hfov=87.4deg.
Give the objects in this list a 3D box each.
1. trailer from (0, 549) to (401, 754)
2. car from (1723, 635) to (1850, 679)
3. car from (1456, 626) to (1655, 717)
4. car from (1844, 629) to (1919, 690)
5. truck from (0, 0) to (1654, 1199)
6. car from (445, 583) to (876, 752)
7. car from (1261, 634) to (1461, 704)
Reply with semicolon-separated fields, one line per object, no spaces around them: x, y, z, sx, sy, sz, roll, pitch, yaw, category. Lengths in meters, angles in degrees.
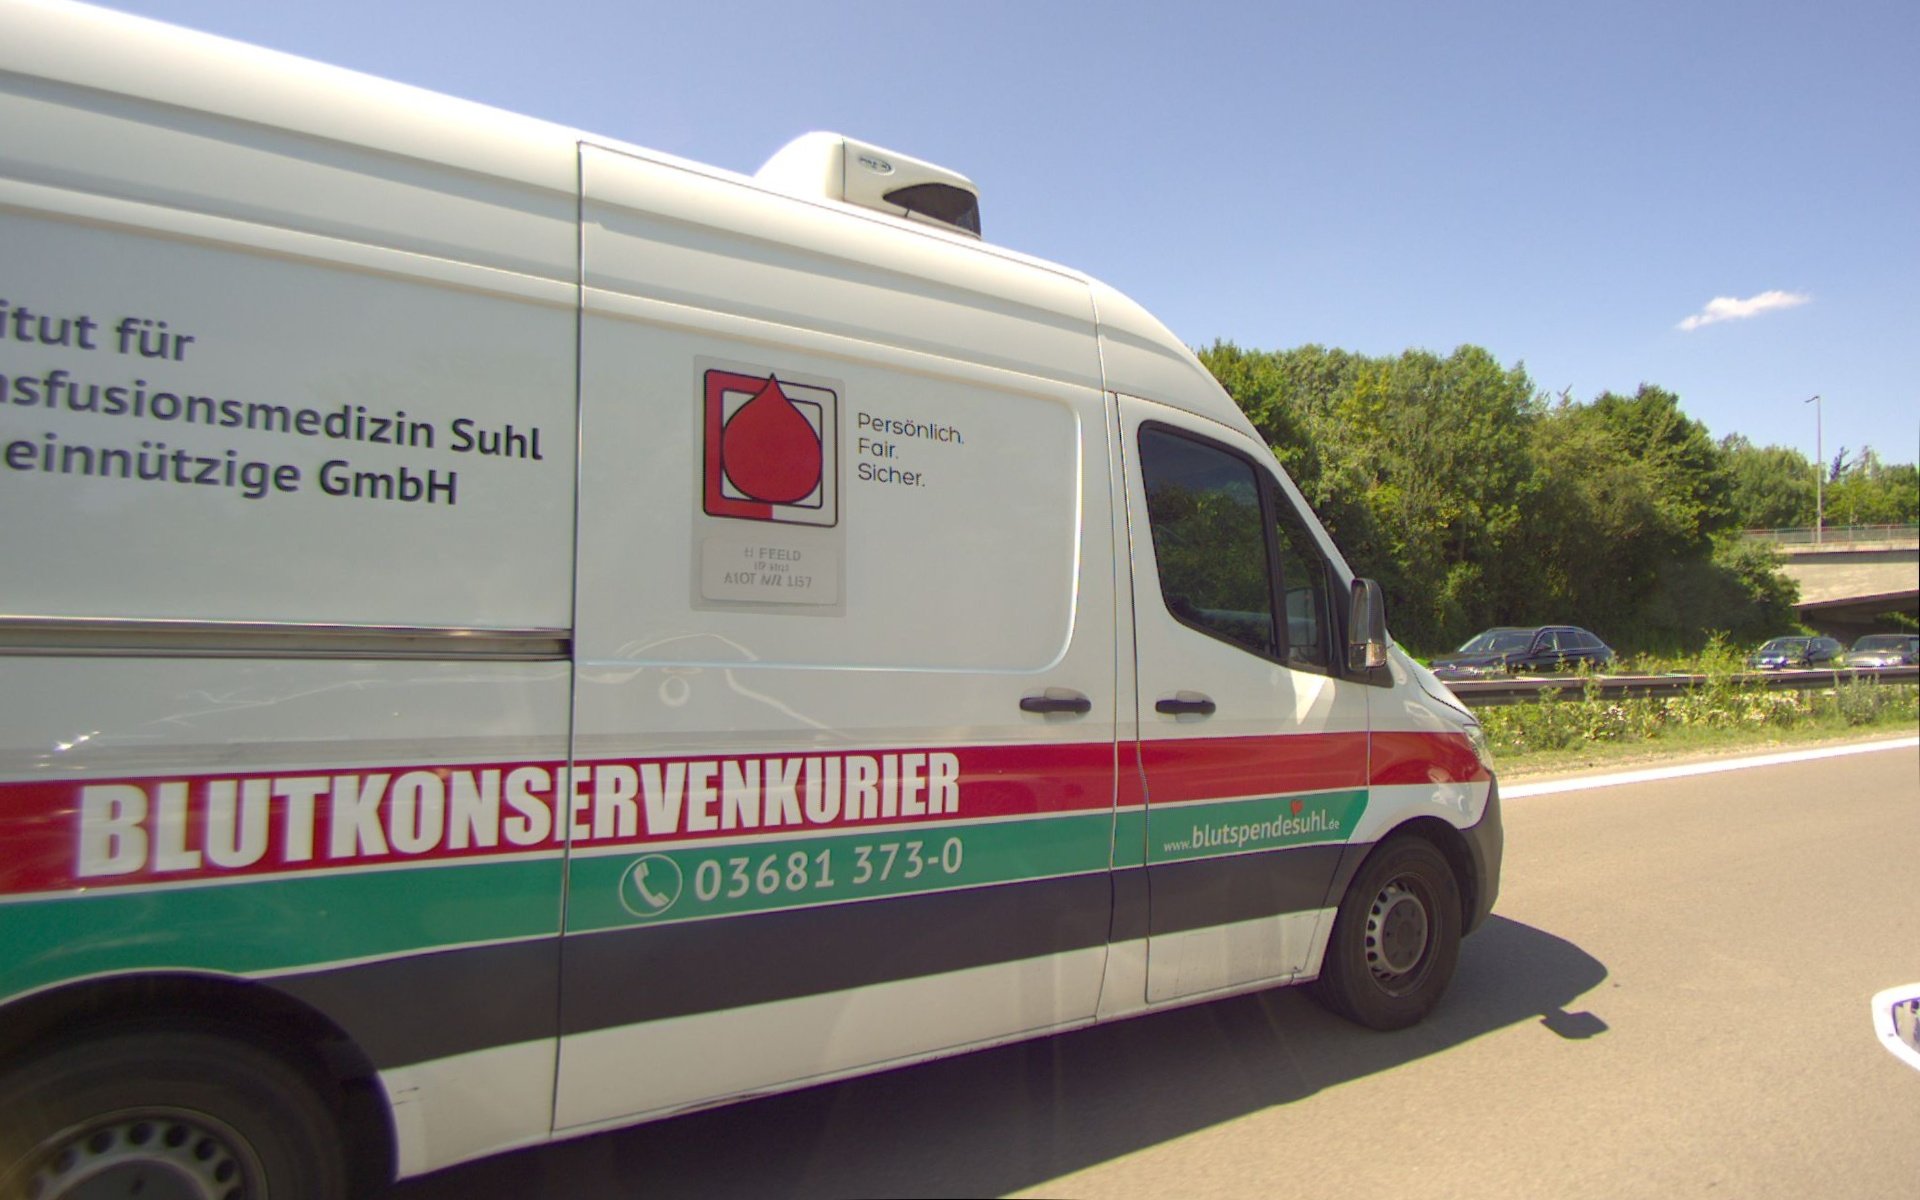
-13.102;0.711;14.716;8.529;2.723;2.718;1;-1;-31;trailer
28.954;2.011;35.154;4.605;1.415;1.984;3;-2;-30;car
12.573;1.430;21.181;3.954;1.715;1.984;1;-1;-31;car
29.127;1.785;30.849;3.954;1.715;1.863;1;-1;-31;car
-0.338;0.168;3.455;6.617;2.576;1.983;1;0;-32;truck
-3.341;0.740;11.435;4.372;1.594;1.841;3;-2;-31;car
9.224;1.518;22.987;4.747;1.446;1.736;1;-1;-30;car
